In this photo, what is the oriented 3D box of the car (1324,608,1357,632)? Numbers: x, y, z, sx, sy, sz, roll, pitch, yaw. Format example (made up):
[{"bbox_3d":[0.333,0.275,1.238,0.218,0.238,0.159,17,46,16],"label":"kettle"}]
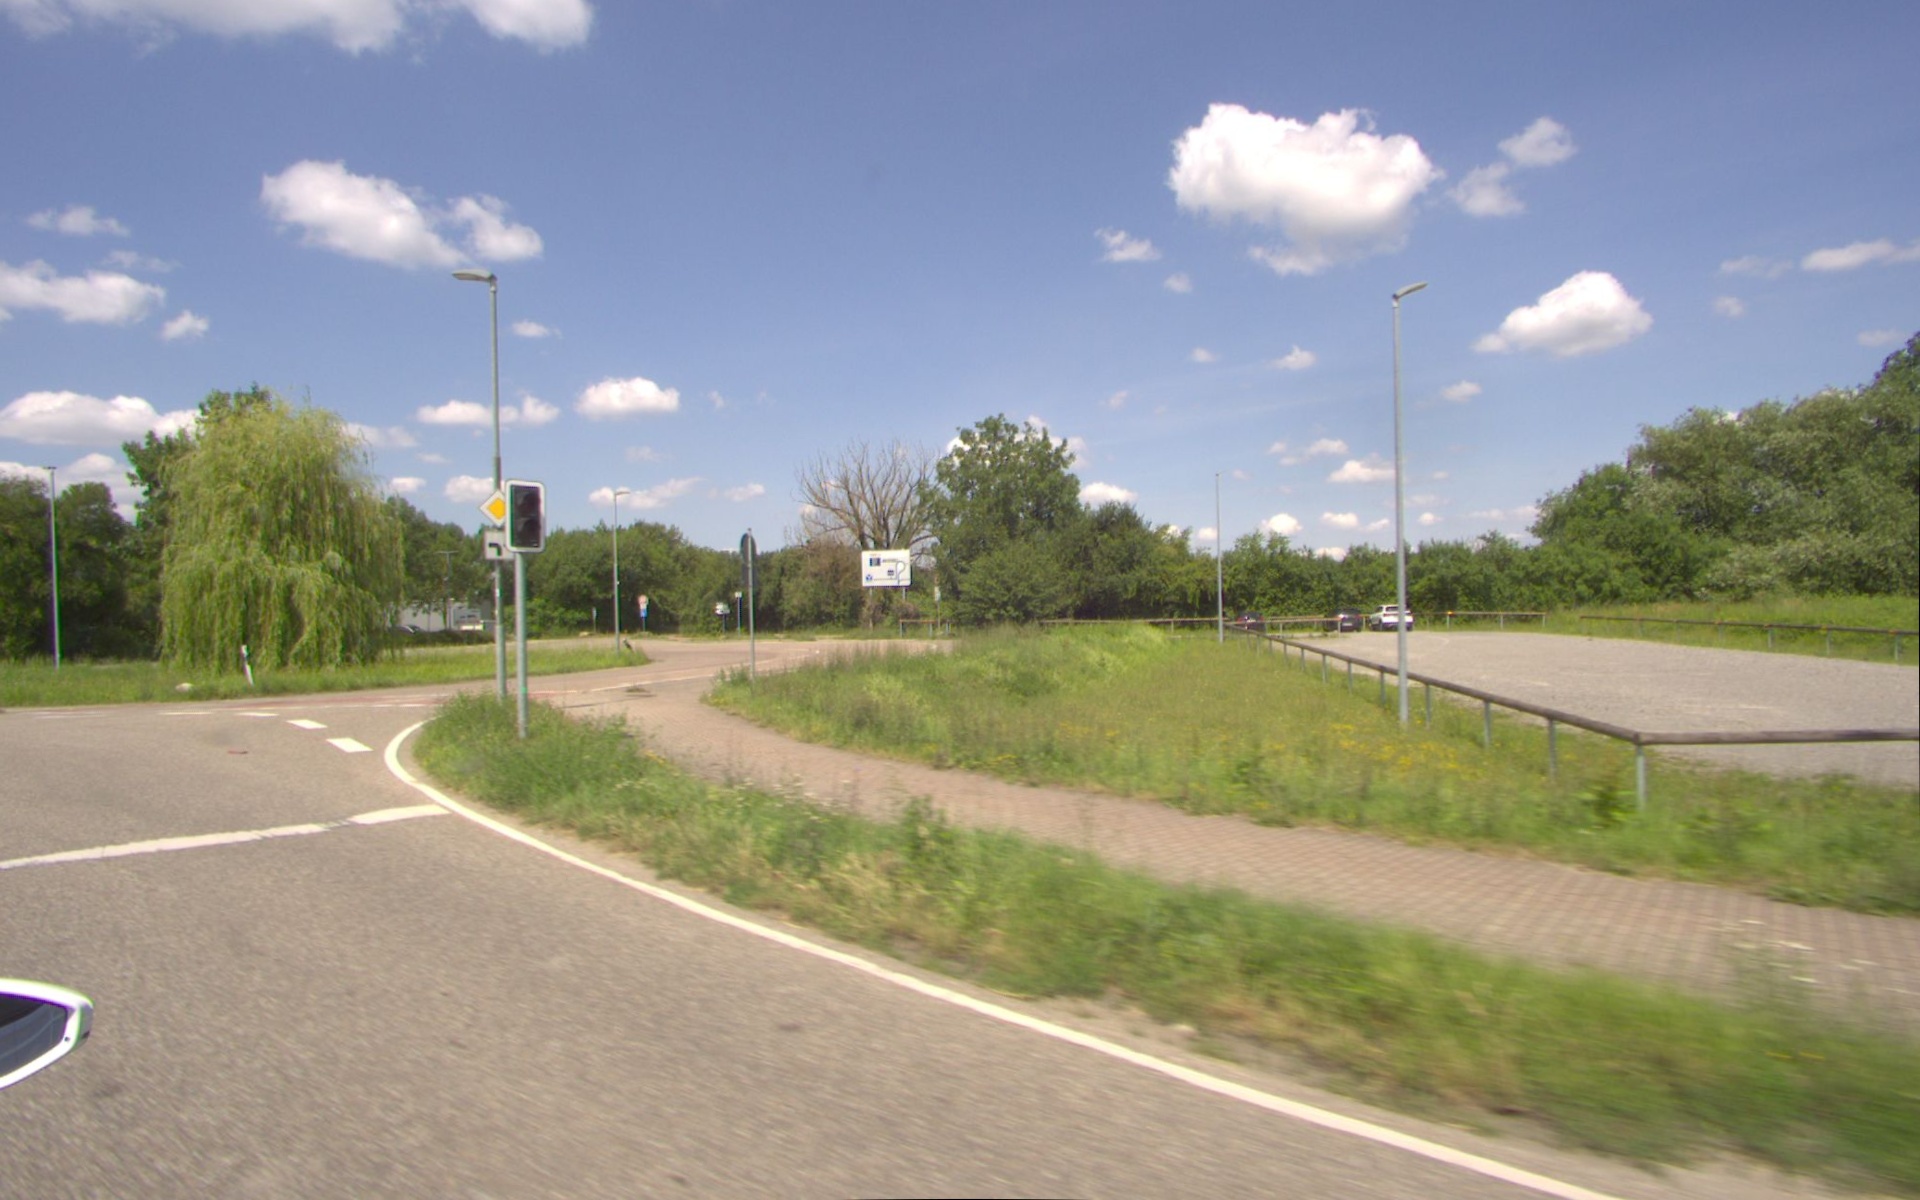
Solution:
[{"bbox_3d":[22.432,1.181,59.080,1.392,1.355,3.116,-2,-2,14],"label":"car"}]

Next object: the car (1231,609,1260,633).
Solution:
[{"bbox_3d":[17.247,1.298,60.584,1.392,1.355,3.118,-2,-2,11],"label":"car"}]

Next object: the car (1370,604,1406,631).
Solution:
[{"bbox_3d":[25.044,1.057,58.713,1.392,1.523,3.116,-2,-2,14],"label":"car"}]
